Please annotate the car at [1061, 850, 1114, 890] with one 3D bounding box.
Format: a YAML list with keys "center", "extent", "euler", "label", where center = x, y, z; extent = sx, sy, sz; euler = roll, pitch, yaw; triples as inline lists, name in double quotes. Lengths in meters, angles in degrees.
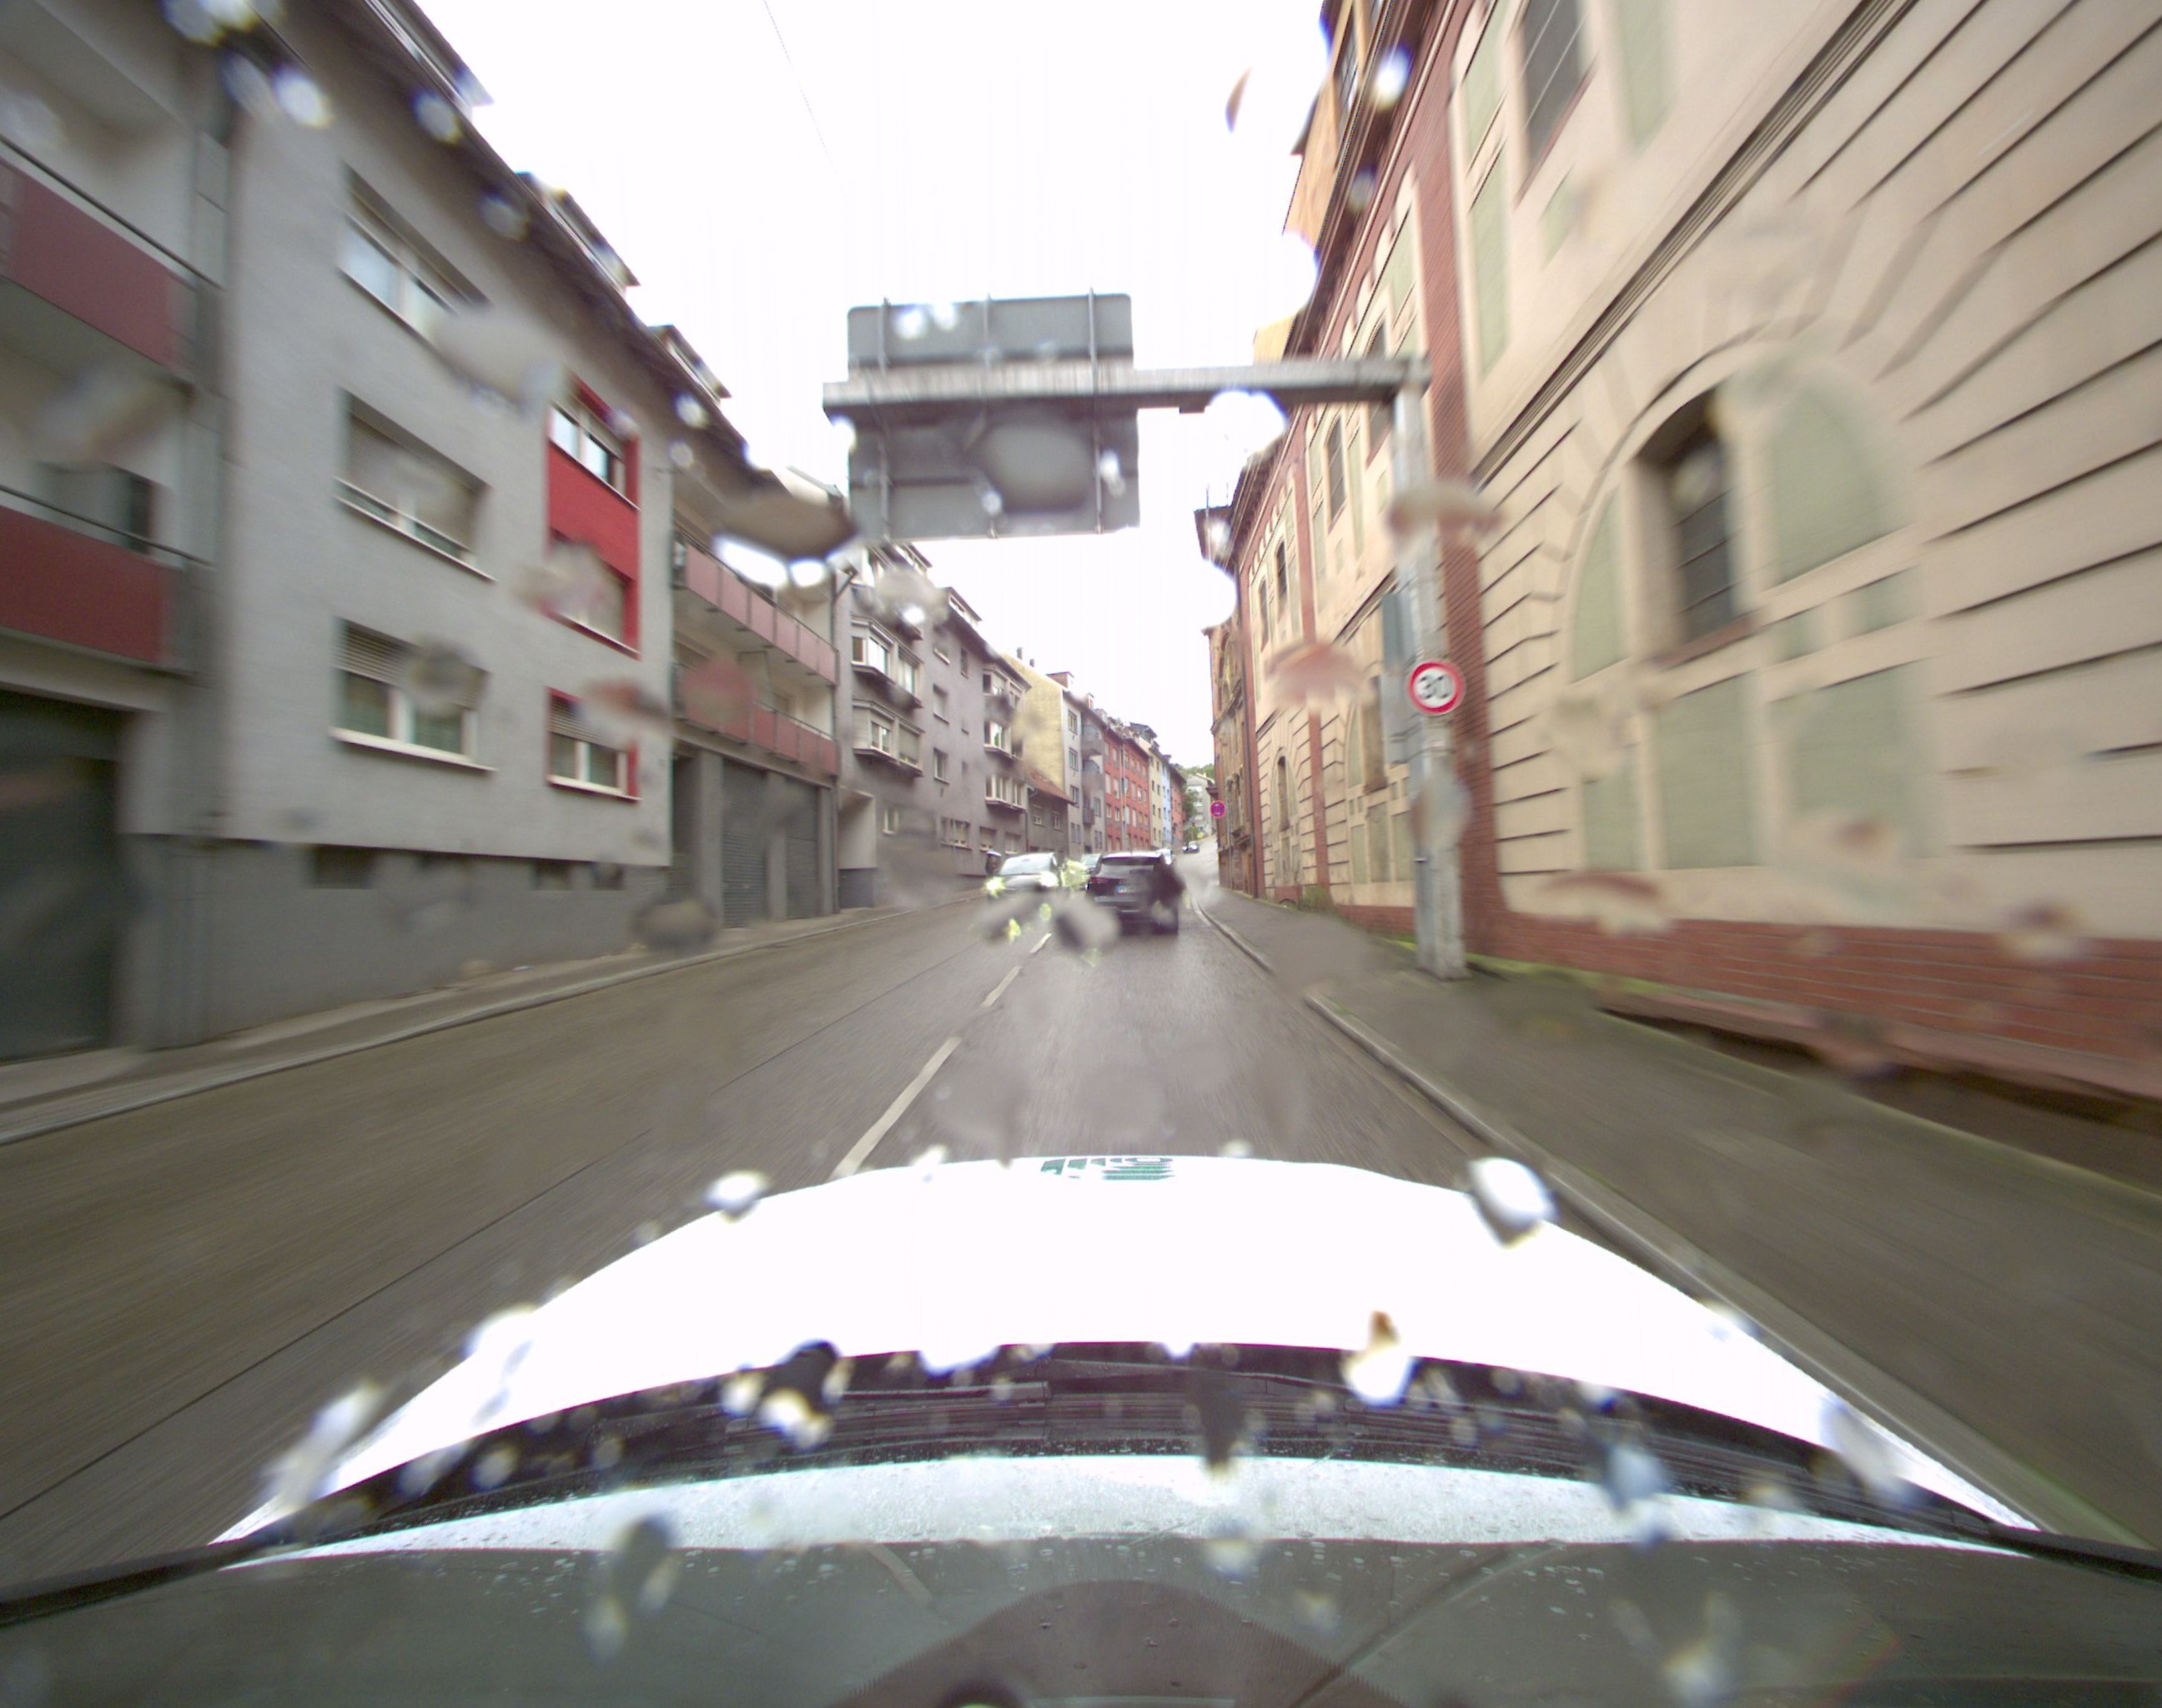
- center: [0.349, 0.683, 36.691]
  extent: [1.754, 1.576, 3.773]
  euler: [-3, 0, 8]
  label: "car"

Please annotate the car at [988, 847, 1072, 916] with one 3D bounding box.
- center: [-1.330, 0.702, 22.705]
  extent: [1.757, 1.657, 3.991]
  euler: [-3, 0, 4]
  label: "car"

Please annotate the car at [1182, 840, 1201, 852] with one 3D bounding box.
- center: [13.626, -0.997, 100.237]
  extent: [1.632, 1.378, 3.868]
  euler: [-4, 0, 17]
  label: "car"

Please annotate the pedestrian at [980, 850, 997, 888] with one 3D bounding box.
- center: [-4.449, 0.733, 39.216]
  extent: [0.520, 1.776, 0.624]
  euler: [-4, 0, 8]
  label: "pedestrian"

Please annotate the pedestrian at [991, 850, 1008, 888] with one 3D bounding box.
- center: [-3.919, 0.705, 39.182]
  extent: [0.520, 1.776, 0.624]
  euler: [-4, 0, 8]
  label: "pedestrian"

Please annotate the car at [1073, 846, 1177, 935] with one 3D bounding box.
- center: [0.910, 0.674, 16.945]
  extent: [1.873, 1.594, 3.924]
  euler: [-1, 0, 3]
  label: "car"

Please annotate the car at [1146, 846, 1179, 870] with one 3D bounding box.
- center: [6.034, 0.259, 59.829]
  extent: [1.752, 1.576, 4.051]
  euler: [-4, 0, 14]
  label: "car"
